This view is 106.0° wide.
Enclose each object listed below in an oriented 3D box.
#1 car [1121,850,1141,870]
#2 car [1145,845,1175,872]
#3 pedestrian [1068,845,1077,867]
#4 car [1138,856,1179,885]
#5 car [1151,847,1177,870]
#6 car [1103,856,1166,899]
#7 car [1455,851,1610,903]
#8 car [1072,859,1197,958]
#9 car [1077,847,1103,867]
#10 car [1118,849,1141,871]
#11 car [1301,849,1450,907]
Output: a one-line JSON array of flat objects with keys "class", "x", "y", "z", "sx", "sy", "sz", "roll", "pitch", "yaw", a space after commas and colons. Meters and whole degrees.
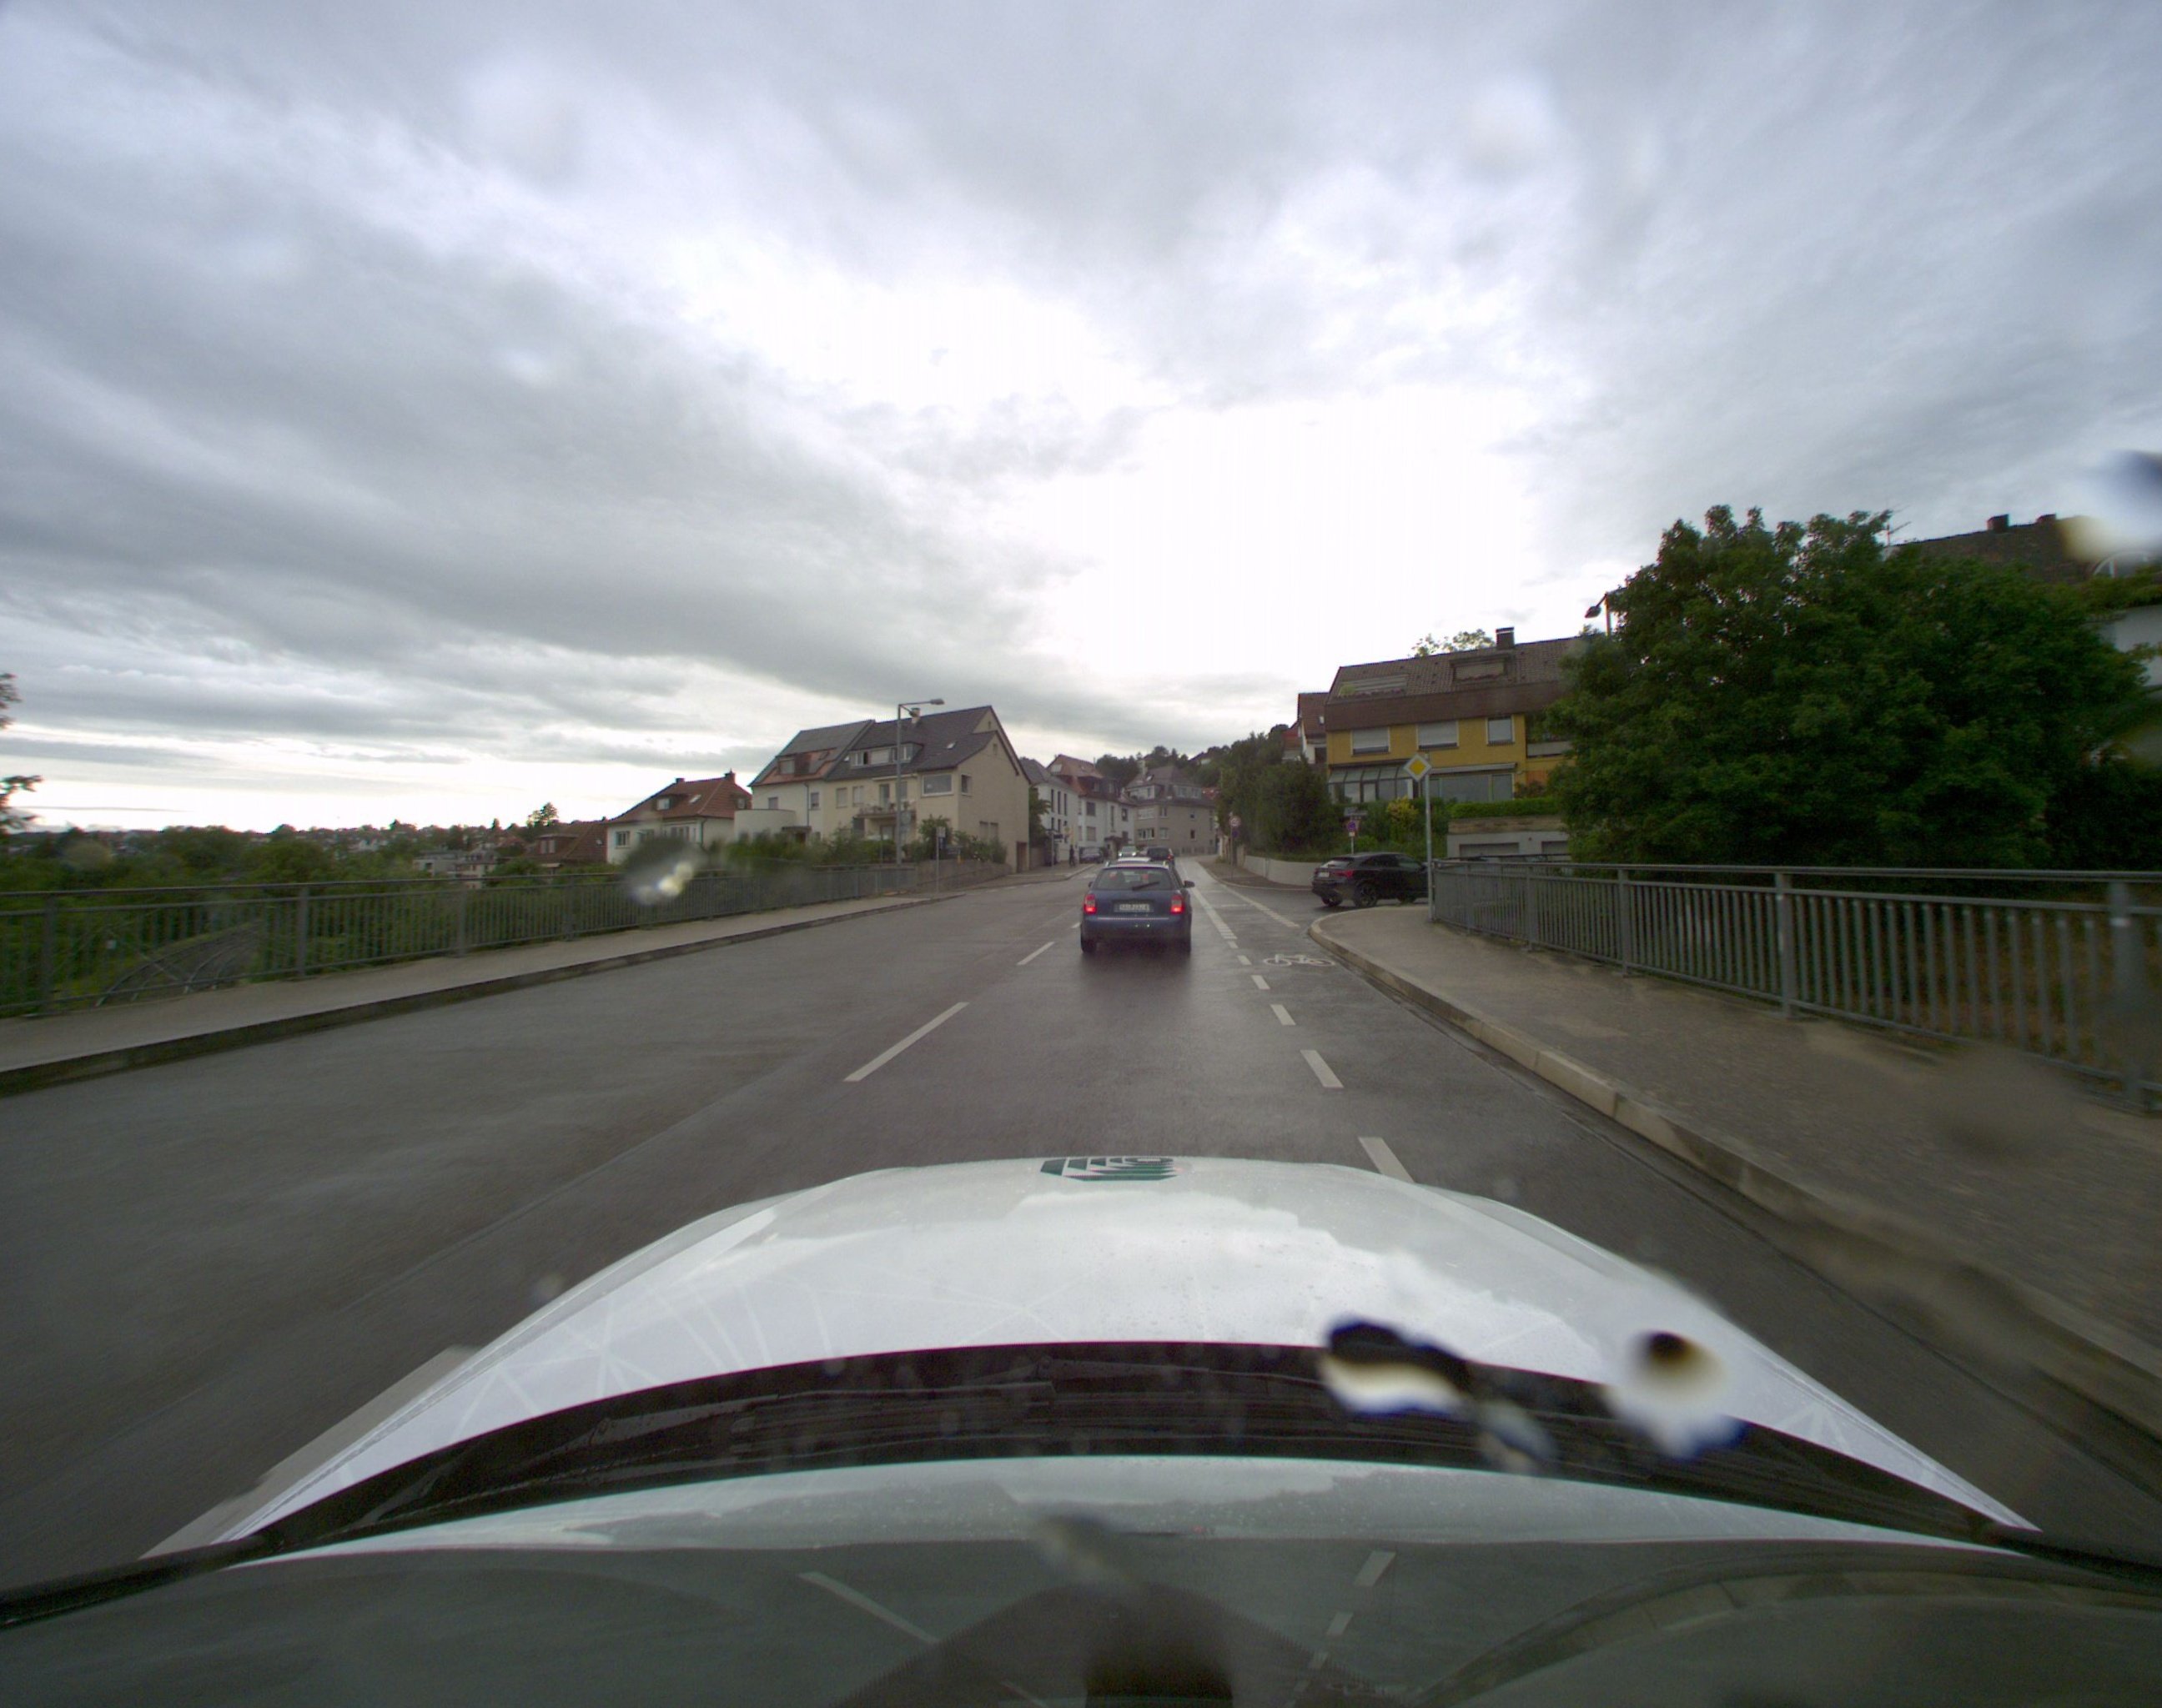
[{"class": "car", "x": 4.643, "y": 0.520, "z": 76.197, "sx": 1.814, "sy": 1.730, "sz": 3.788, "roll": 2, "pitch": 0, "yaw": 3}, {"class": "car", "x": 5.044, "y": 0.252, "z": 52.207, "sx": 1.813, "sy": 1.617, "sz": 3.791, "roll": 2, "pitch": 0, "yaw": 5}, {"class": "pedestrian", "x": -0.687, "y": 0.169, "z": 64.694, "sx": 0.656, "sy": 1.691, "sz": 0.581, "roll": -3, "pitch": 2, "yaw": -1}, {"class": "car", "x": 4.100, "y": 0.878, "z": 42.534, "sx": 1.880, "sy": 1.389, "sz": 4.009, "roll": 1, "pitch": -1, "yaw": 9}, {"class": "car", "x": 6.693, "y": 0.331, "z": 66.106, "sx": 1.814, "sy": 1.730, "sz": 3.788, "roll": 2, "pitch": 0, "yaw": 3}, {"class": "car", "x": 2.002, "y": 0.820, "z": 29.157, "sx": 1.880, "sy": 1.389, "sz": 4.009, "roll": 1, "pitch": -1, "yaw": 9}, {"class": "car", "x": 13.675, "y": 0.689, "z": 24.774, "sx": 3.766, "sy": 1.424, "sz": 1.824, "roll": 1, "pitch": -1, "yaw": -5}, {"class": "car", "x": 1.053, "y": 0.805, "z": 13.835, "sx": 1.737, "sy": 1.407, "sz": 4.010, "roll": -1, "pitch": 0, "yaw": 9}, {"class": "car", "x": 0.863, "y": 0.297, "z": 77.241, "sx": 1.983, "sy": 1.708, "sz": 4.007, "roll": -2, "pitch": -1, "yaw": 7}, {"class": "car", "x": 4.120, "y": 0.508, "z": 69.695, "sx": 1.814, "sy": 1.730, "sz": 3.788, "roll": 2, "pitch": 0, "yaw": 3}, {"class": "car", "x": 8.485, "y": 0.642, "z": 23.503, "sx": 3.789, "sy": 1.424, "sz": 1.814, "roll": -2, "pitch": 1, "yaw": -23}]
